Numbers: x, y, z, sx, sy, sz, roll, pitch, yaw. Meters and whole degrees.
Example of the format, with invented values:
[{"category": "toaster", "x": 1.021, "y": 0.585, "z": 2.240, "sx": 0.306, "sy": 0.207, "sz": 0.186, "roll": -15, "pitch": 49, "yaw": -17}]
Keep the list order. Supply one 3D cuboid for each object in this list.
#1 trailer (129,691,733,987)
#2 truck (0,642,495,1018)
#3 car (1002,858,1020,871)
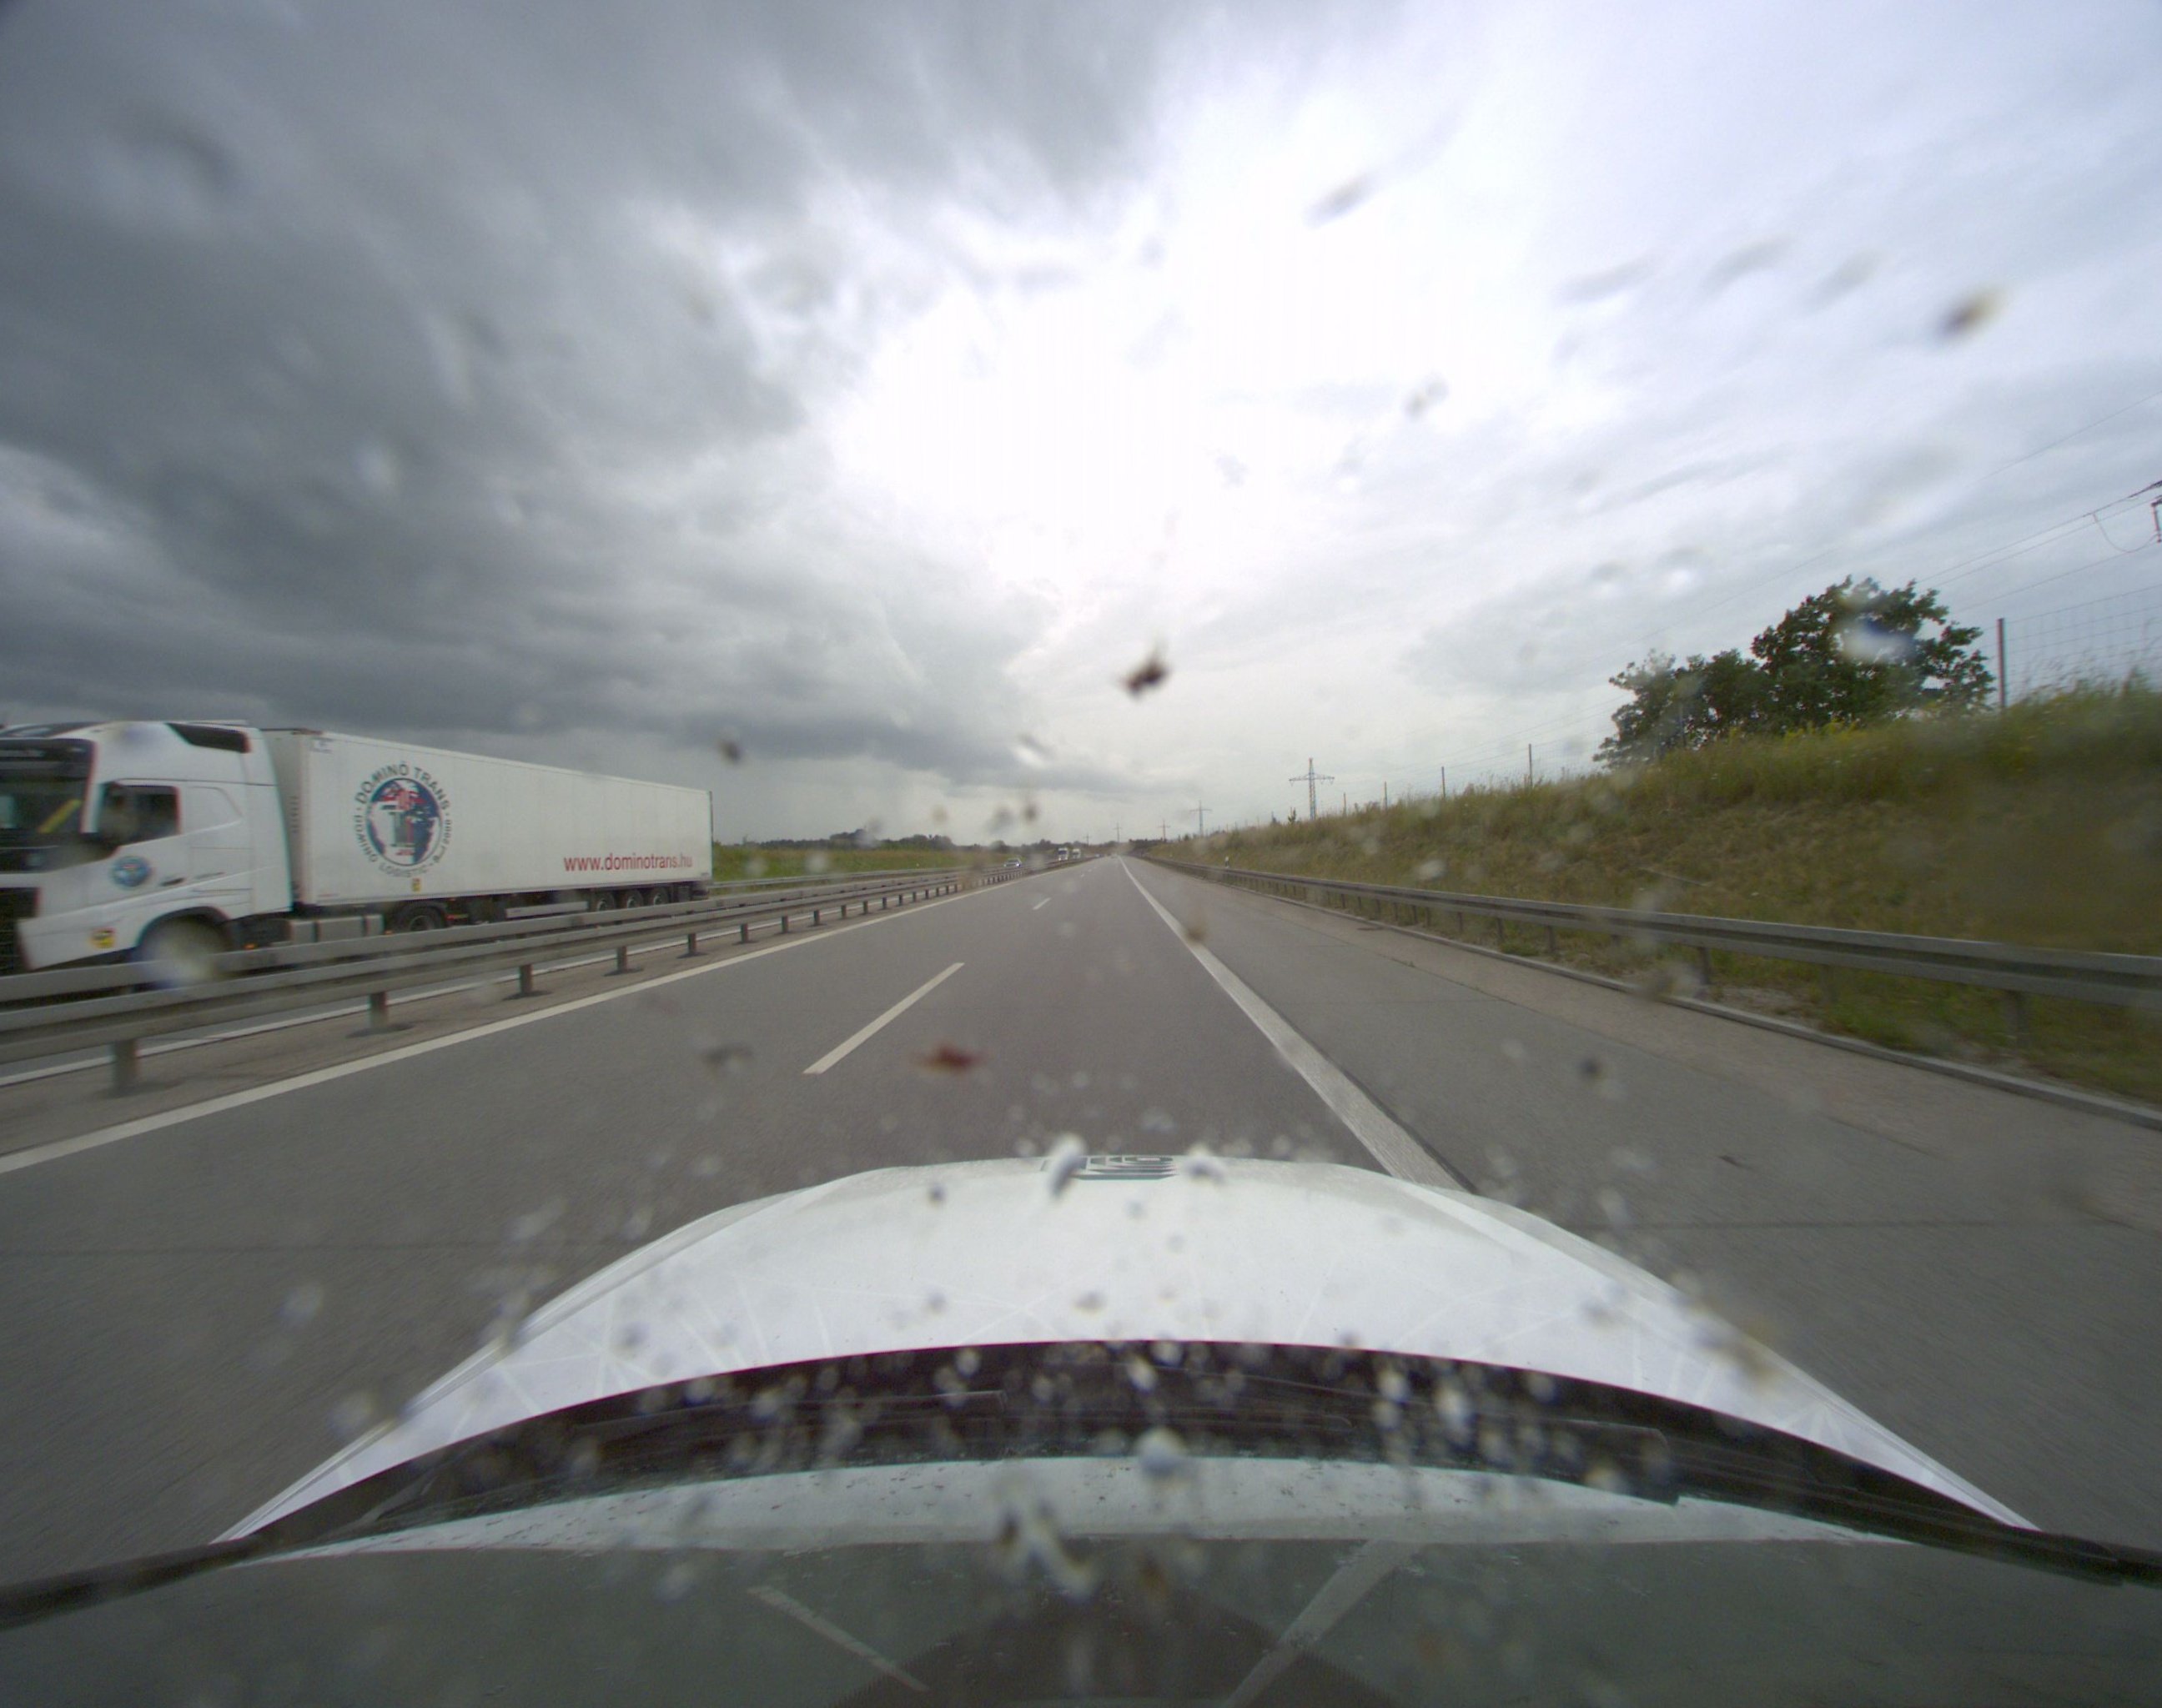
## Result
[{"category": "trailer", "x": -13.588, "y": -0.236, "z": 20.447, "sx": 2.785, "sy": 4.650, "sz": 14.852, "roll": -2, "pitch": 0, "yaw": 2}, {"category": "truck", "x": -13.812, "y": -0.268, "z": 13.581, "sx": 2.785, "sy": 4.647, "sz": 6.923, "roll": -2, "pitch": 0, "yaw": 2}, {"category": "car", "x": -8.209, "y": 1.188, "z": 95.688, "sx": 1.758, "sy": 1.424, "sz": 3.999, "roll": -2, "pitch": 0, "yaw": 0}]
